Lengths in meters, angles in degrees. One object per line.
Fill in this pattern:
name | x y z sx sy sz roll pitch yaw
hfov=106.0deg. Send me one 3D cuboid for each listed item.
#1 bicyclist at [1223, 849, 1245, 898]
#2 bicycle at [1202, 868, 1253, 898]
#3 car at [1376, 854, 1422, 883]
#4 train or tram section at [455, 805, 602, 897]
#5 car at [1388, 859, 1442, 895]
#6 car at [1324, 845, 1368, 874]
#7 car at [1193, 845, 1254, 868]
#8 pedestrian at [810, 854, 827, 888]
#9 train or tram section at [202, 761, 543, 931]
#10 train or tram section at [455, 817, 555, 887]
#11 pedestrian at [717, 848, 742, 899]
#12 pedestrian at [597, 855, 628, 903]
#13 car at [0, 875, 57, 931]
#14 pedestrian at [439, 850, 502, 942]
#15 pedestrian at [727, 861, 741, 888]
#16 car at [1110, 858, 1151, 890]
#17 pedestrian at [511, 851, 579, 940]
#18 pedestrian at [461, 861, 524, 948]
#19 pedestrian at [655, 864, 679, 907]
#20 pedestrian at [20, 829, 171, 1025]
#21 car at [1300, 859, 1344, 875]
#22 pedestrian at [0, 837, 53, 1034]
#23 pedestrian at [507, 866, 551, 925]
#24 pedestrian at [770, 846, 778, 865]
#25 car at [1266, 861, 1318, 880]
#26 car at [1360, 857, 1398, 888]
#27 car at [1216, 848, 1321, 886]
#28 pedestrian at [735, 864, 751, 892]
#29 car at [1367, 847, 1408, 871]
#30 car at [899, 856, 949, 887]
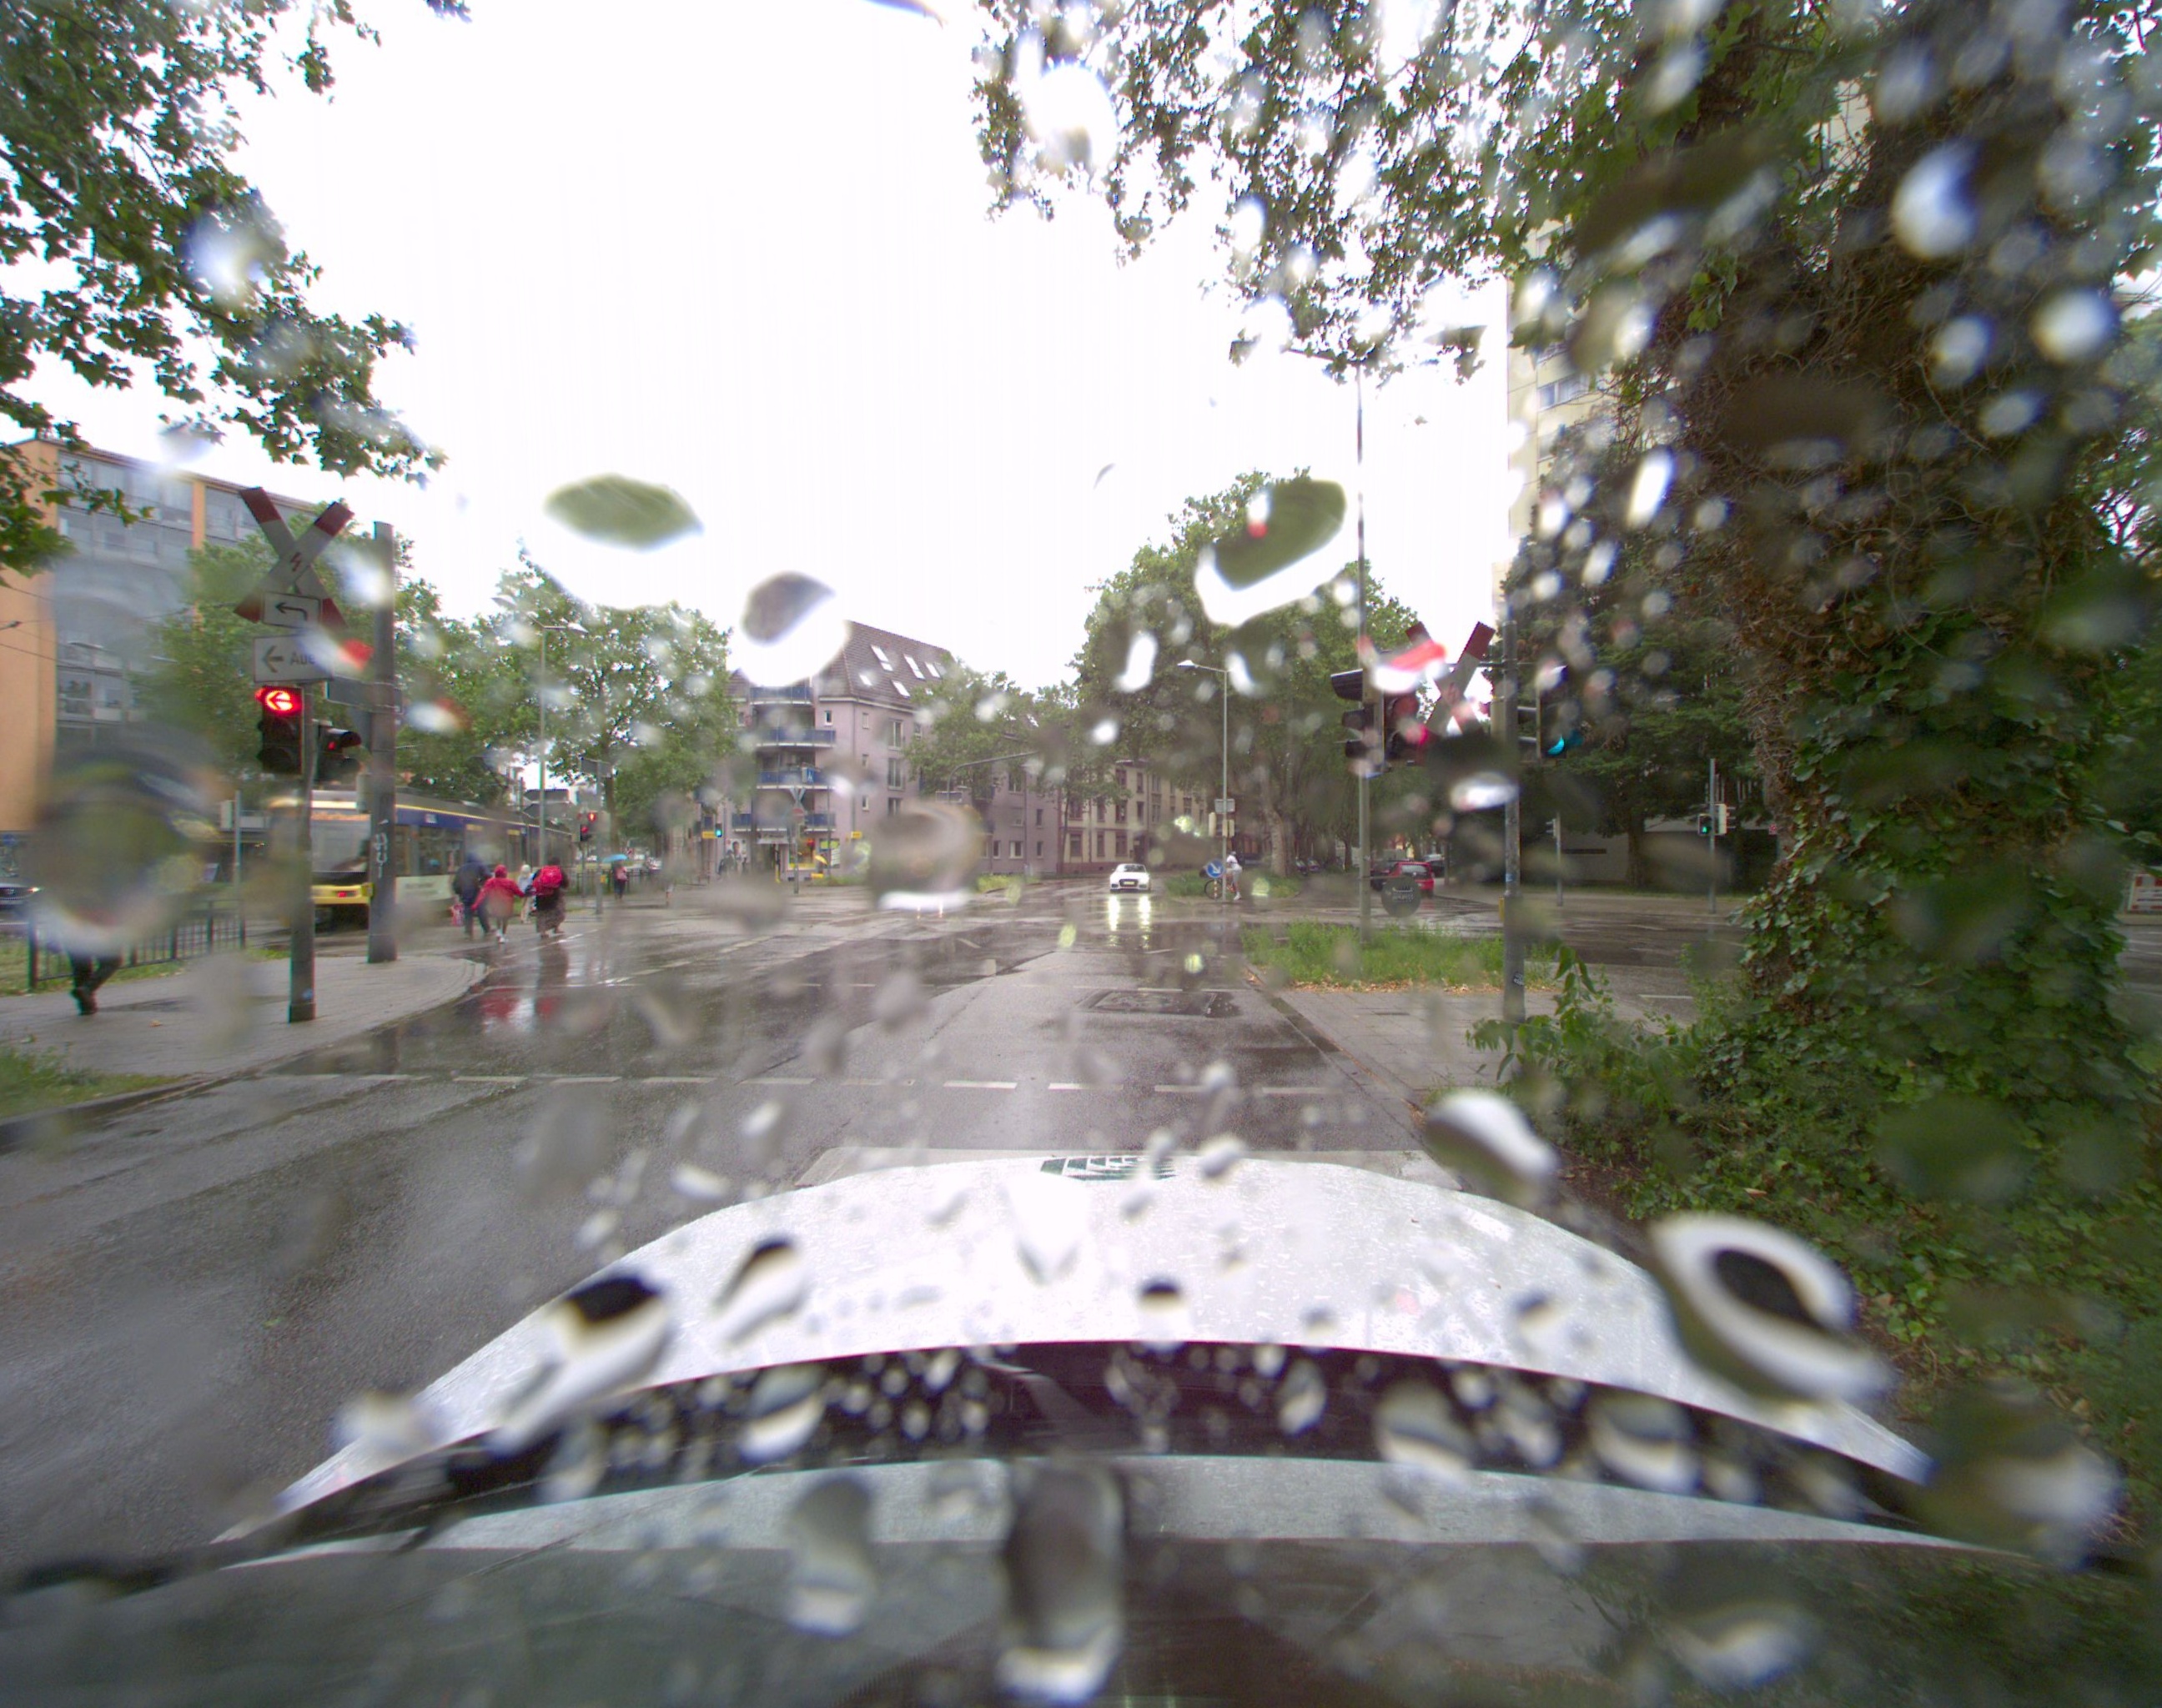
bicyclist | 5.690 0.714 30.362 0.790 1.786 0.699 -1 -1 9
bicycle | 5.464 1.068 30.392 1.862 1.081 0.658 -1 -1 9
car | 15.893 0.696 40.866 1.770 1.348 3.945 0 1 16
train or tram section | -25.158 -0.084 38.018 2.872 3.545 13.614 0 0 -22
car | 14.825 0.980 36.330 1.778 1.498 4.017 0 0 16
car | 28.316 0.586 87.214 2.040 2.948 4.742 0 -1 -18
car | 9.480 0.180 54.016 3.838 1.486 1.723 -1 -1 14
pedestrian | -16.719 1.083 51.808 0.913 2.151 0.880 0 -1 -25
train or tram section | -19.767 -0.138 24.555 2.871 3.545 15.260 0 0 -22
train or tram section | -35.918 -0.021 51.534 2.897 3.768 17.089 0 -1 -28
pedestrian | -12.933 0.701 29.979 0.791 1.855 0.676 0 0 -22
pedestrian | -17.490 0.931 30.441 0.962 1.766 0.944 0 -1 -28
car | -32.227 1.394 23.551 3.994 1.530 1.615 0 1 12
pedestrian | -11.847 0.789 15.802 0.844 1.698 0.680 -4 3 -42
pedestrian | -20.710 1.206 48.616 0.677 1.600 0.959 0 -1 -29
car | 2.404 0.935 39.206 1.876 1.436 4.004 0 0 4
pedestrian | -10.140 0.763 15.440 0.728 1.624 0.816 -1 1 -5
pedestrian | -10.621 0.885 14.709 0.682 1.520 0.657 -1 0 -10
pedestrian | -13.926 1.046 27.382 0.653 1.396 0.774 0 0 -33
pedestrian | -10.079 0.692 8.380 0.876 1.864 0.881 0 0 -43
car | 23.131 1.252 78.258 3.958 1.547 2.008 -1 -1 14
pedestrian | -10.067 0.724 7.213 0.867 1.755 0.826 0 0 -18
pedestrian | -13.108 0.965 19.358 0.657 1.349 0.706 0 0 -12
pedestrian | -20.742 0.097 55.082 0.445 1.329 0.558 0 -1 -15
car | 16.925 1.321 65.229 3.958 1.486 2.008 -1 -1 14
car | 17.323 1.062 47.422 1.769 1.727 4.017 -1 -1 16
car | 7.533 0.519 32.713 3.958 1.486 2.008 -1 -1 14
pedestrian | -19.352 1.360 46.604 0.754 1.533 0.784 0 -1 -32
car | 38.980 0.639 103.567 2.006 2.948 4.726 0 -1 -29
car | -8.009 0.853 41.835 1.745 1.512 3.839 0 0 1
